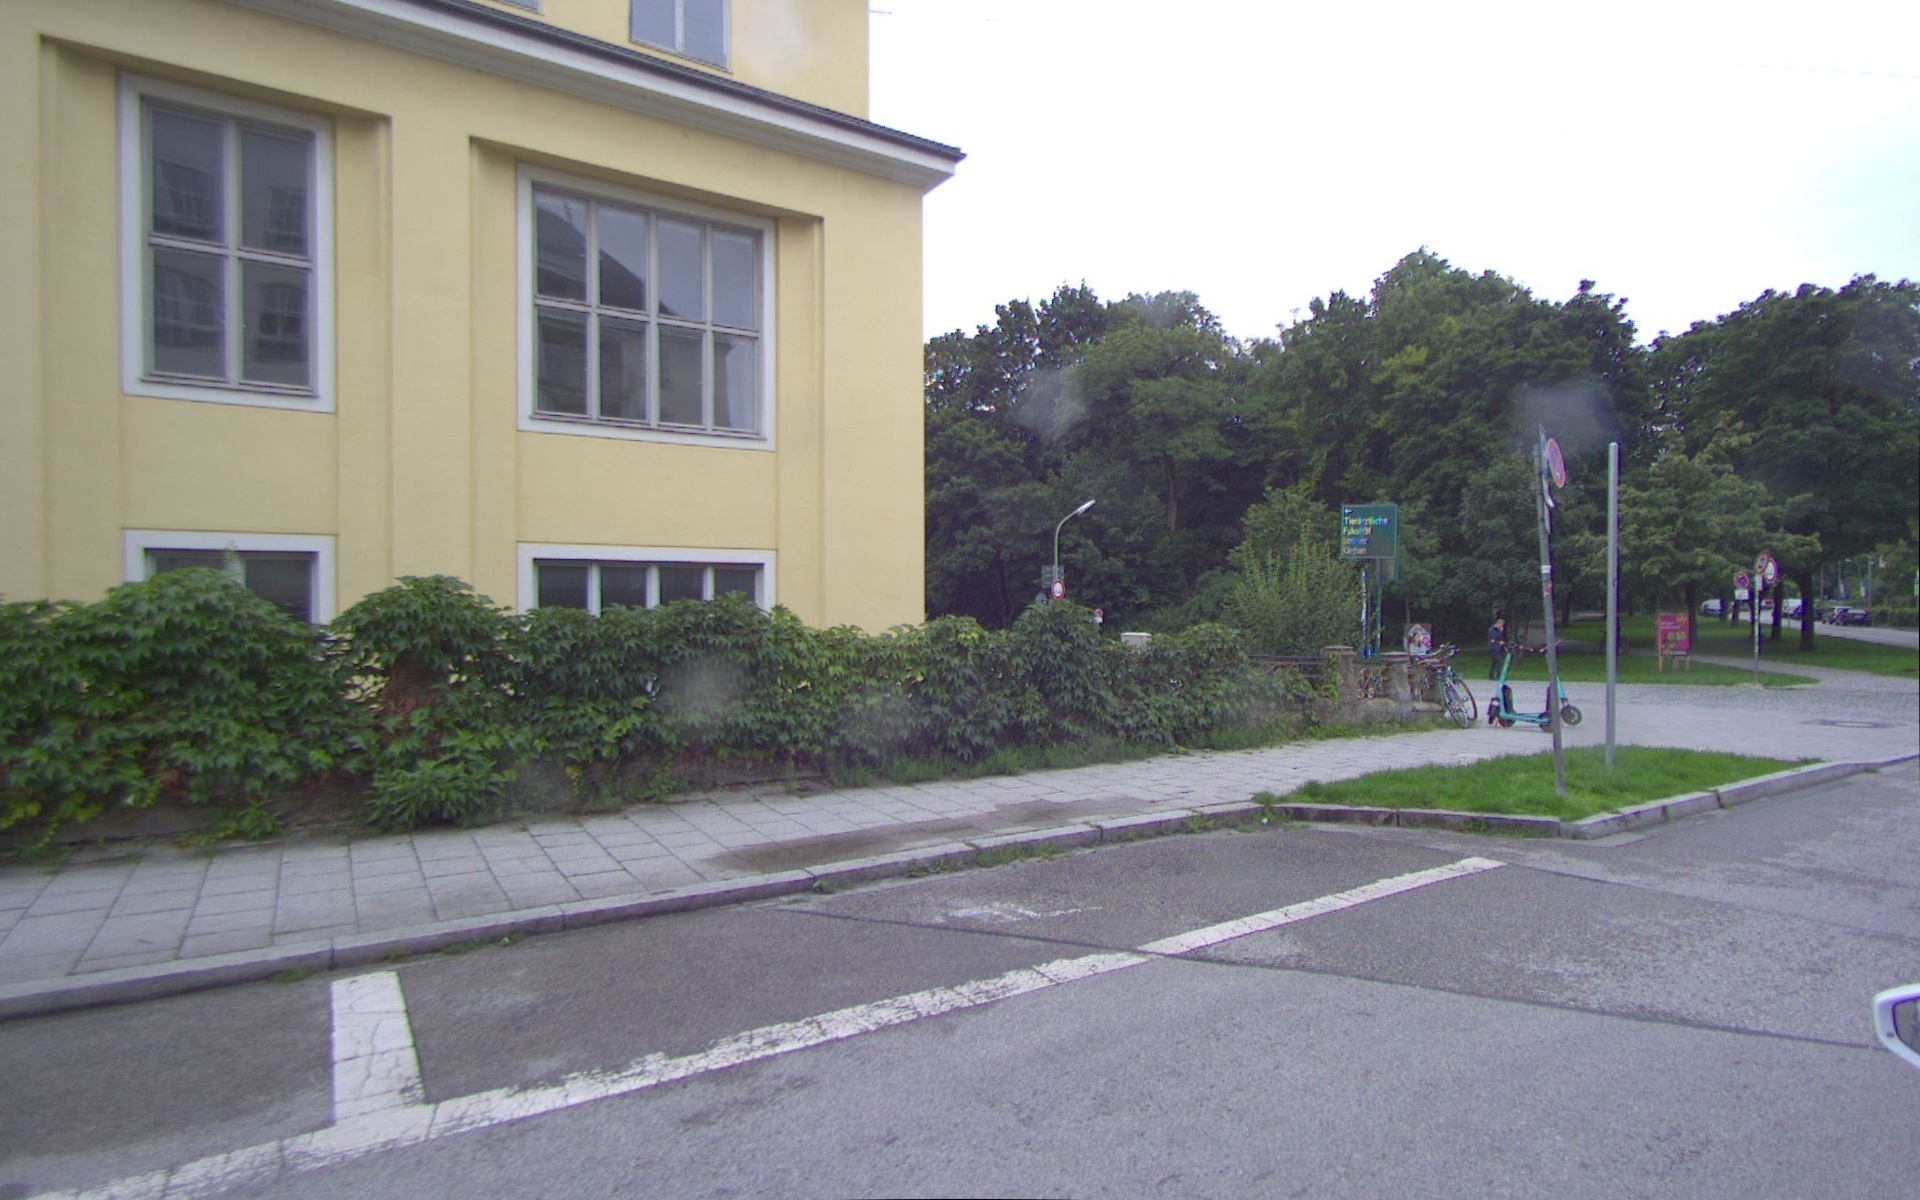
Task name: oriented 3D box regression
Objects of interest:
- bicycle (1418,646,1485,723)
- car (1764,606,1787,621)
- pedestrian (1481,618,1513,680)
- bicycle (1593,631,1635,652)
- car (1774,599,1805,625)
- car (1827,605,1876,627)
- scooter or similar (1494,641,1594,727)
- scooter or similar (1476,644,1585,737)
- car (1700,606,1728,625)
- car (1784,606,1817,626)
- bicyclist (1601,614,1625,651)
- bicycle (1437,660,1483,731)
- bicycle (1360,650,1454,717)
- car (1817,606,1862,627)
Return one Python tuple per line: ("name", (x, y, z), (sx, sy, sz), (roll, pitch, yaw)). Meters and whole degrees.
("bicycle", (7.968, 1.344, 16.334), (0.641, 1.149, 1.502), (0, -1, 13))
("car", (91.525, 1.502, 112.762), (1.622, 1.674, 4.271), (0, -1, 34))
("pedestrian", (15.613, 1.402, 29.215), (0.720, 1.776, 0.657), (-1, -1, 38))
("bicycle", (26.532, 1.671, 40.768), (0.436, 0.786, 1.347), (0, 0, -36))
("car", (85.151, 1.257, 103.177), (1.849, 2.602, 4.919), (0, 0, 33))
("car", (69.061, 1.215, 77.842), (2.146, 1.679, 4.494), (0, -1, 33))
("scooter or similar", (8.609, 1.239, 14.835), (1.158, 1.235, 0.447), (-1, -3, 6))
("scooter or similar", (8.062, 1.259, 14.236), (0.595, 1.235, 1.173), (1, -3, -28))
("car", (74.648, 1.496, 99.428), (1.966, 1.862, 3.989), (0, -1, 33))
("car", (79.833, 1.481, 95.443), (1.849, 1.840, 3.989), (0, -1, 33))
("bicyclist", (26.504, 1.322, 40.777), (0.639, 1.480, 0.623), (0, 0, -37))
("bicycle", (7.281, 1.368, 14.621), (0.463, 0.935, 1.201), (0, -1, 33))
("bicycle", (7.999, 1.495, 18.074), (0.642, 1.148, 1.735), (0, -4, -11))
("car", (72.448, 1.316, 82.828), (2.146, 1.679, 4.494), (0, -1, 33))
